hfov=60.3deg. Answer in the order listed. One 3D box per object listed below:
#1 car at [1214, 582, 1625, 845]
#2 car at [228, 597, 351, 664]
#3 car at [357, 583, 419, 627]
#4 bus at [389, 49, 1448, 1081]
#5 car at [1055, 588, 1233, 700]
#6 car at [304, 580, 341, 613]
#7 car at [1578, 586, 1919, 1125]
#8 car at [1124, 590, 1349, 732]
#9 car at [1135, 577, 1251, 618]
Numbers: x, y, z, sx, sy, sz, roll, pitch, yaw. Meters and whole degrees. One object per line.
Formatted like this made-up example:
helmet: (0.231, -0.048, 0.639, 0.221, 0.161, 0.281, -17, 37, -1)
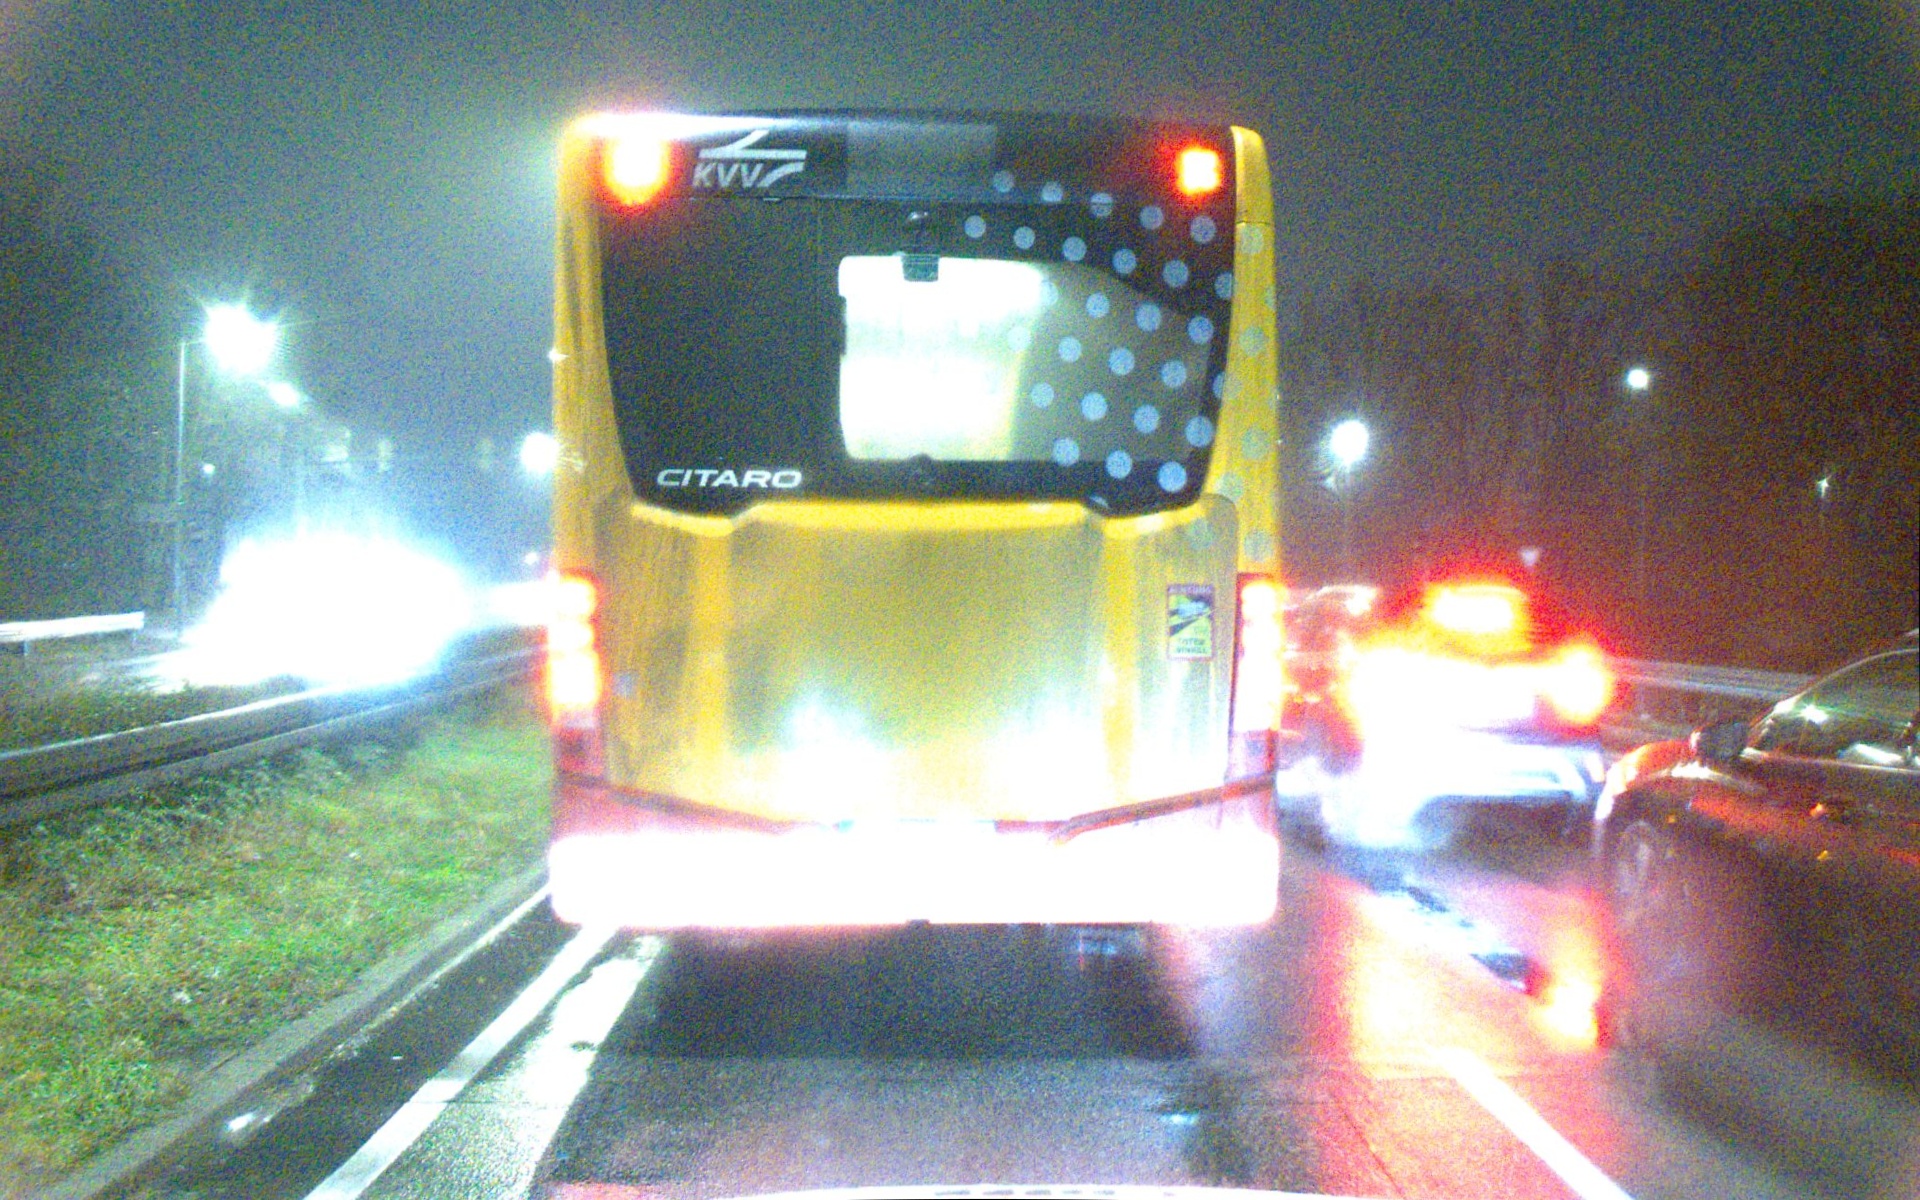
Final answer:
car: (3.055, 0.691, 11.853, 1.644, 1.548, 3.957, 1, 0, -3)
car: (-16.383, 0.711, 40.625, 1.958, 1.534, 4.825, 0, 0, -12)
car: (-19.530, 0.172, 56.646, 1.683, 1.448, 4.648, 0, 0, -15)
bus: (-0.295, -0.235, 9.824, 3.219, 3.103, 9.540, 0, 2, -2)
car: (2.562, 0.593, 23.931, 1.953, 1.466, 3.998, 1, 0, -3)
car: (-33.478, -0.203, 86.765, 1.741, 1.659, 4.221, 0, 1, -22)
car: (3.571, 0.762, 4.947, 1.639, 1.532, 4.558, 2, 0, -1)
car: (2.879, 0.588, 17.985, 1.652, 1.353, 3.959, 0, 0, -2)
car: (9.640, -0.115, 68.663, 4.399, 1.545, 1.854, 1, 2, -9)
